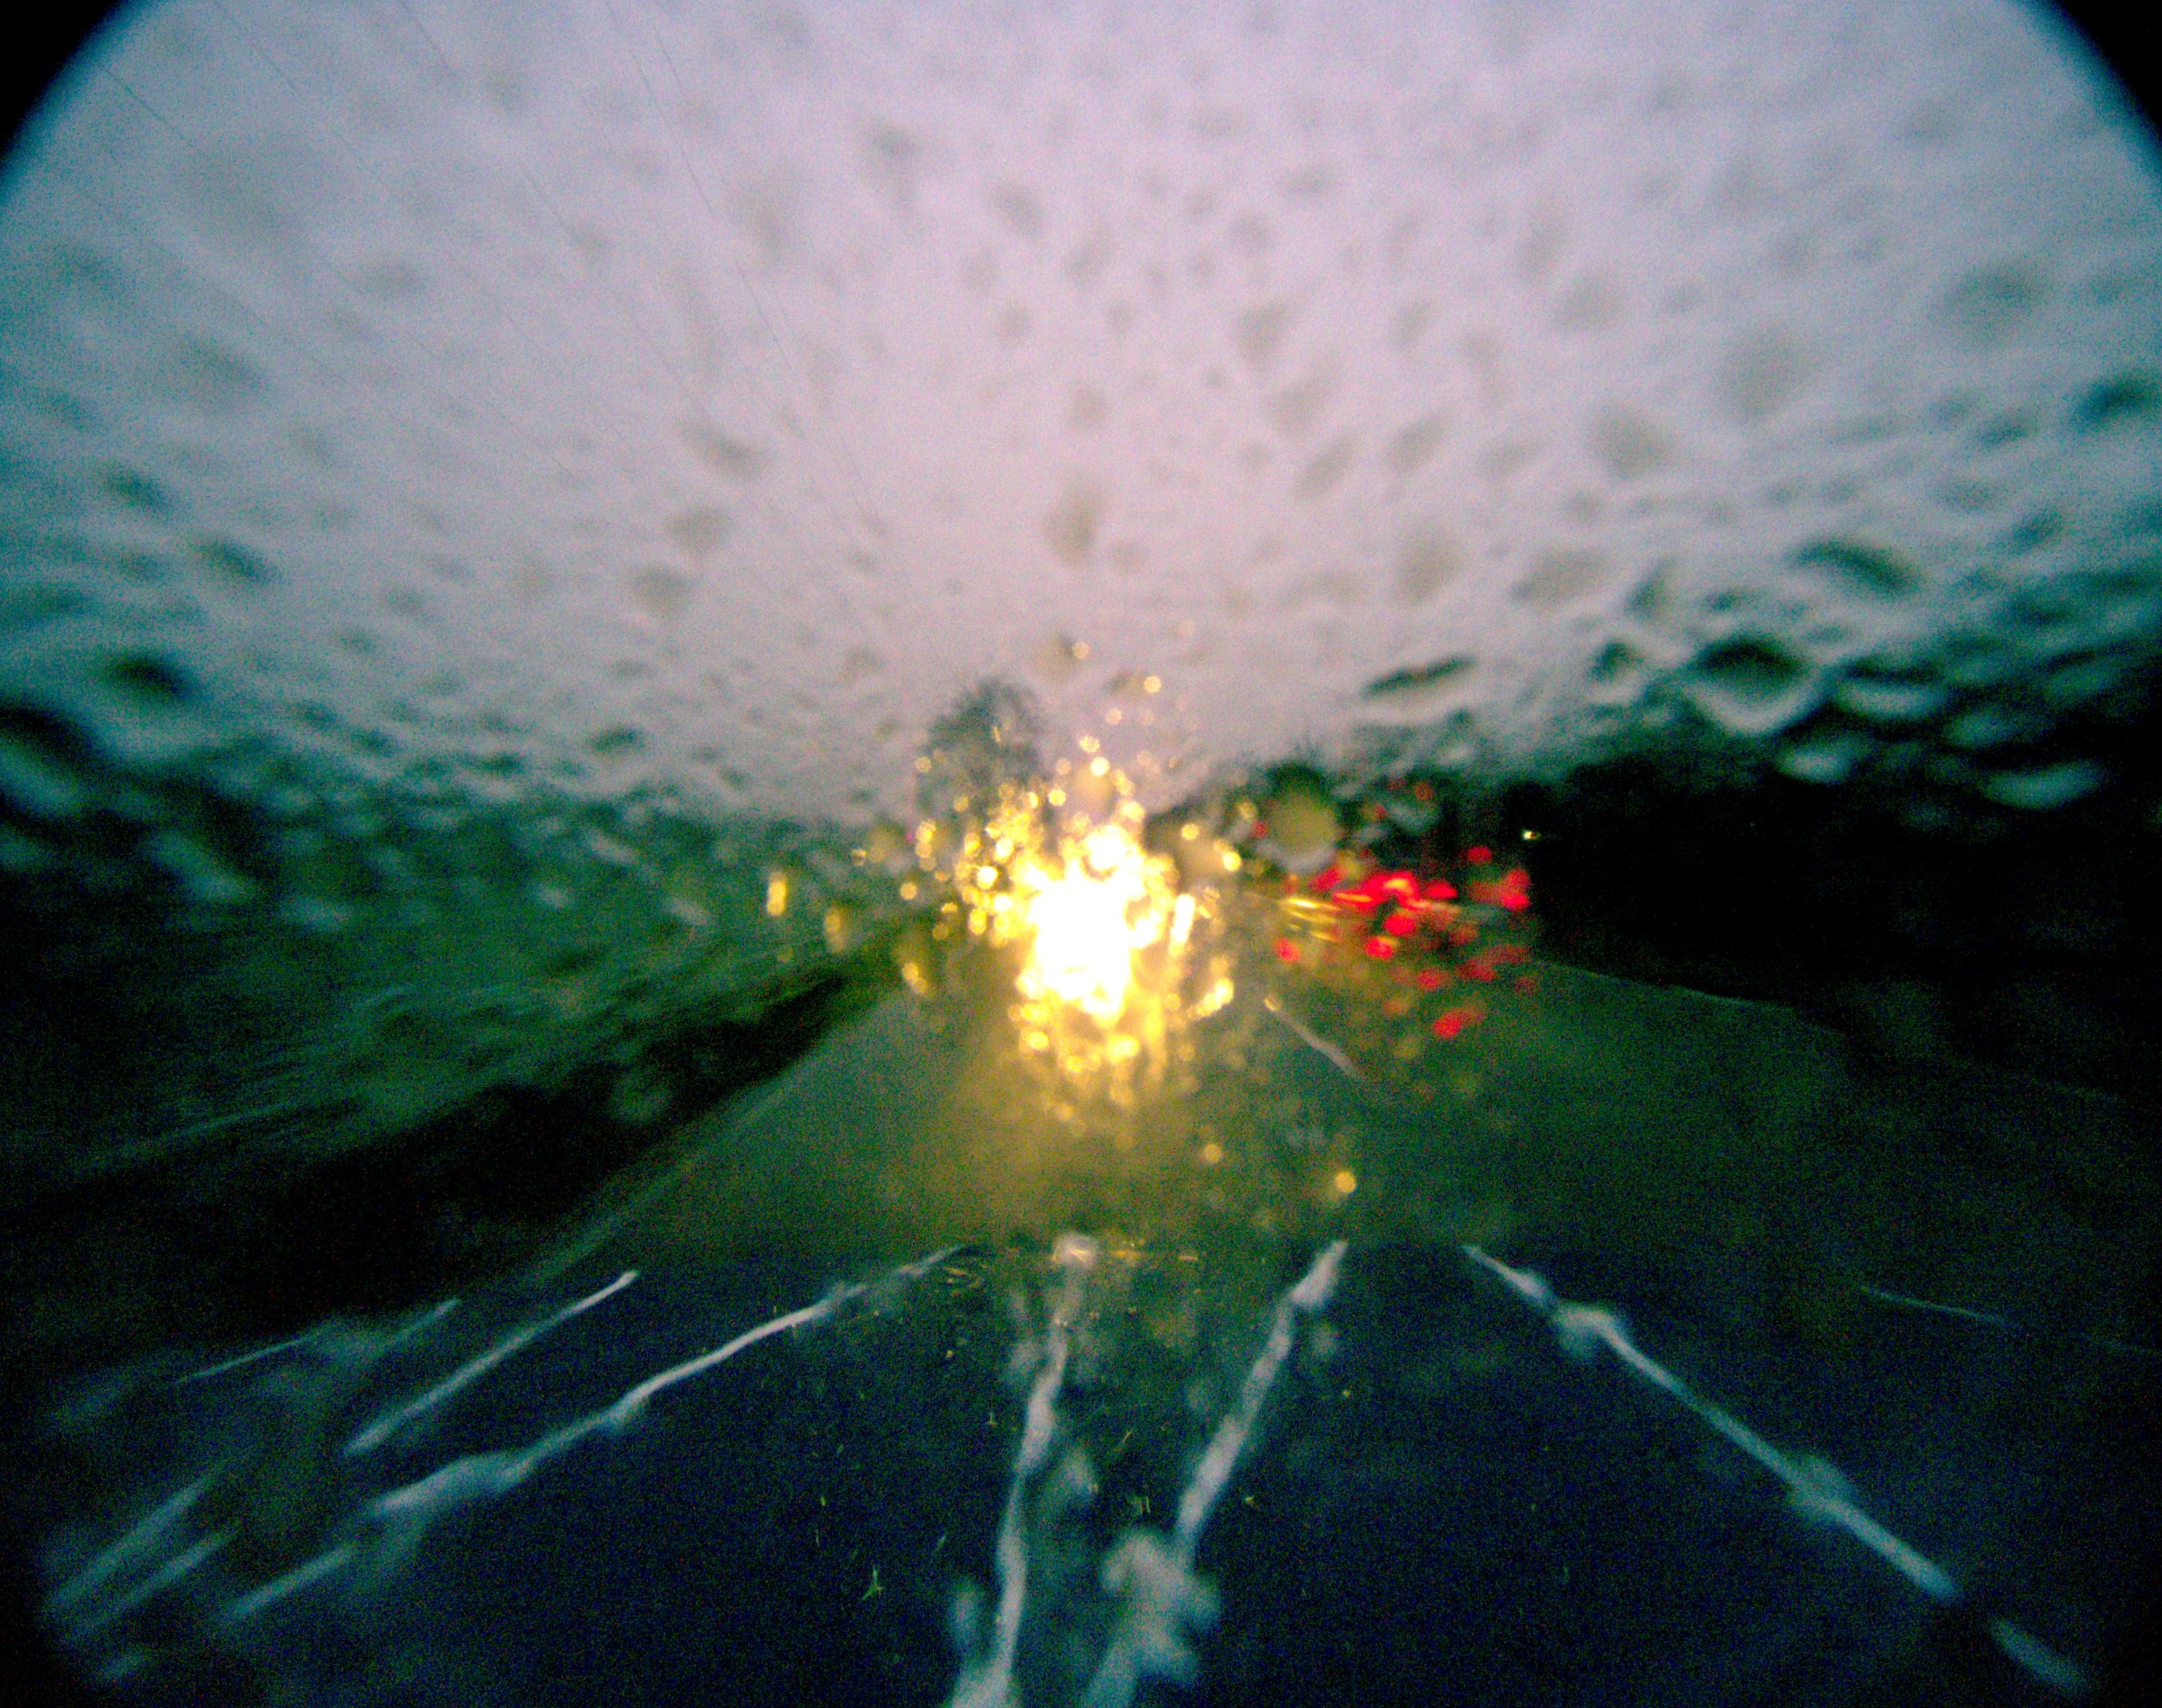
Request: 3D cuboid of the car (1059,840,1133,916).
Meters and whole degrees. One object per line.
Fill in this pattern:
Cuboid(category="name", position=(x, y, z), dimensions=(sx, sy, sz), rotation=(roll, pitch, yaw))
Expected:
Cuboid(category="car", position=(0.354, 0.639, 22.699), dimensions=(1.857, 2.002, 3.998), rotation=(-2, 1, -3))

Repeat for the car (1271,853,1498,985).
Cuboid(category="car", position=(3.998, 0.755, 10.730), dimensions=(1.649, 1.455, 3.872), rotation=(-2, 0, 1))

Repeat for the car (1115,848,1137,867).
Cuboid(category="car", position=(4.834, 0.359, 82.210), dimensions=(1.998, 2.002, 4.653), rotation=(-1, 1, 0))
